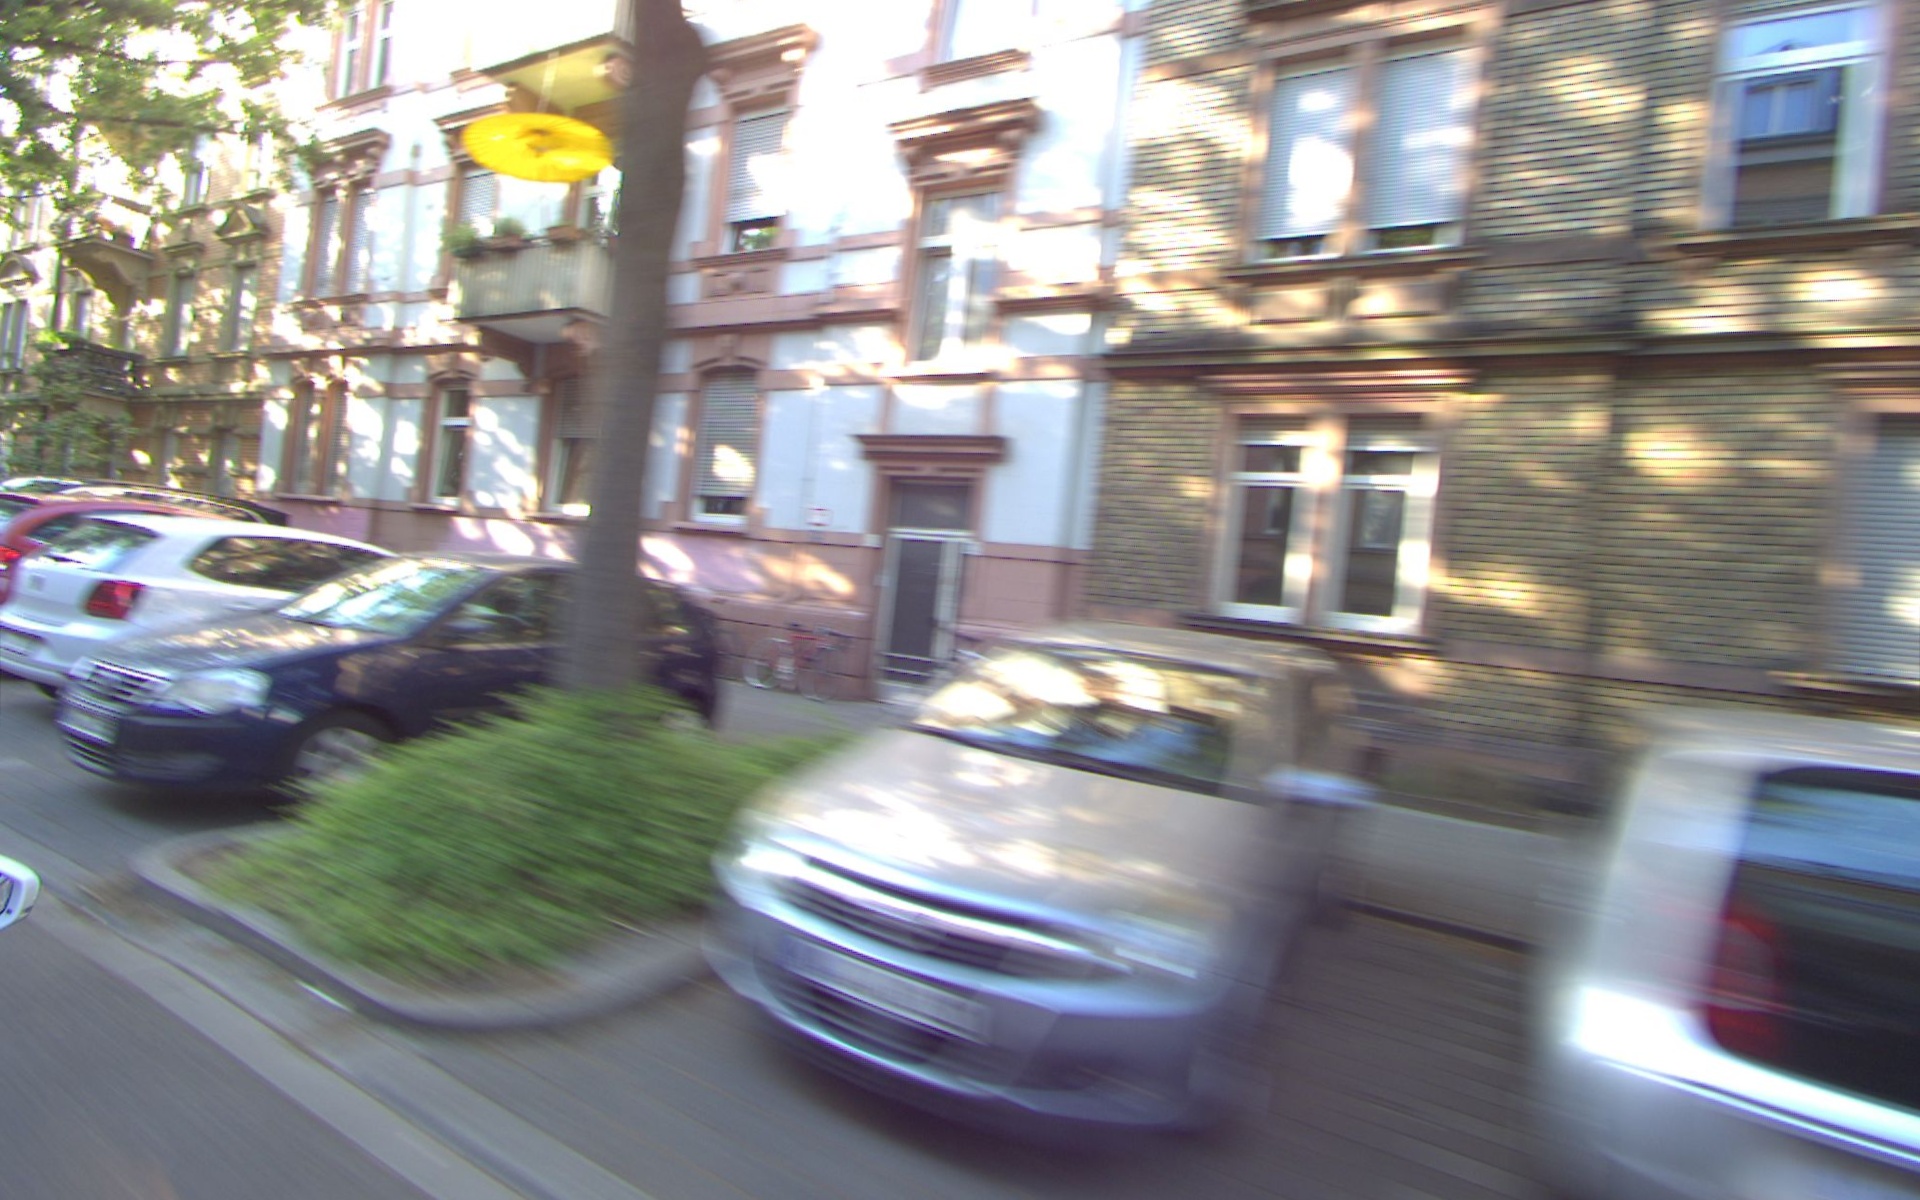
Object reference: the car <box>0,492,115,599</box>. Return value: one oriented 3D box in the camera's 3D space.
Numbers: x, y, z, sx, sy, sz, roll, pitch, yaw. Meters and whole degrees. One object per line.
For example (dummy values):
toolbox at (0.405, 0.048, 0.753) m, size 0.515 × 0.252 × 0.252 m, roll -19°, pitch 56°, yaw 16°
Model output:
car at (-15.582, -1.013, 14.587) m, size 1.896 × 1.521 × 4.674 m, roll 7°, pitch -1°, yaw 21°

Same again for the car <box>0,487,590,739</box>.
car at (-5.305, 0.150, 8.287) m, size 1.751 × 1.480 × 3.996 m, roll 7°, pitch -1°, yaw 27°

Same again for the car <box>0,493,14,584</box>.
car at (-17.810, -1.262, 15.620) m, size 1.779 × 1.521 × 4.116 m, roll 7°, pitch -1°, yaw 26°

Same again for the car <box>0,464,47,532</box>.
car at (-40.839, -4.491, 40.133) m, size 2.337 × 2.567 × 5.912 m, roll 7°, pitch -1°, yaw 24°

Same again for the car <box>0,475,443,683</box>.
car at (-7.431, -0.134, 9.676) m, size 1.751 × 1.609 × 3.996 m, roll 7°, pitch -1°, yaw 27°

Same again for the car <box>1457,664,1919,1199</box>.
car at (3.062, 1.158, 3.690) m, size 1.771 × 1.487 × 4.107 m, roll 7°, pitch -1°, yaw 32°

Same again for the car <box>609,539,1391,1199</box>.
car at (0.748, 0.843, 4.568) m, size 1.769 × 1.554 × 4.233 m, roll 7°, pitch -1°, yaw 27°

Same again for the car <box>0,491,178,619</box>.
car at (-13.479, -0.764, 13.234) m, size 1.967 × 1.548 × 4.558 m, roll 7°, pitch -1°, yaw 32°

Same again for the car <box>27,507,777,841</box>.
car at (-3.197, 0.354, 6.626) m, size 1.649 × 1.406 × 3.989 m, roll 7°, pitch 2°, yaw 30°

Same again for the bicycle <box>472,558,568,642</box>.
bicycle at (-6.522, -0.016, 14.867) m, size 1.677 × 1.063 × 0.365 m, roll 7°, pitch 0°, yaw 34°

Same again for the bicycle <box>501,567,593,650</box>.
bicycle at (-6.236, 0.117, 15.151) m, size 1.677 × 1.063 × 0.324 m, roll 7°, pitch 0°, yaw 34°

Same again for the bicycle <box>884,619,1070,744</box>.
bicycle at (0.161, 0.855, 10.863) m, size 1.914 × 1.058 × 0.405 m, roll 7°, pitch 0°, yaw 26°

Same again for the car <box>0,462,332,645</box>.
car at (-9.529, -0.500, 10.525) m, size 1.849 × 1.724 × 4.652 m, roll 7°, pitch 1°, yaw 27°
